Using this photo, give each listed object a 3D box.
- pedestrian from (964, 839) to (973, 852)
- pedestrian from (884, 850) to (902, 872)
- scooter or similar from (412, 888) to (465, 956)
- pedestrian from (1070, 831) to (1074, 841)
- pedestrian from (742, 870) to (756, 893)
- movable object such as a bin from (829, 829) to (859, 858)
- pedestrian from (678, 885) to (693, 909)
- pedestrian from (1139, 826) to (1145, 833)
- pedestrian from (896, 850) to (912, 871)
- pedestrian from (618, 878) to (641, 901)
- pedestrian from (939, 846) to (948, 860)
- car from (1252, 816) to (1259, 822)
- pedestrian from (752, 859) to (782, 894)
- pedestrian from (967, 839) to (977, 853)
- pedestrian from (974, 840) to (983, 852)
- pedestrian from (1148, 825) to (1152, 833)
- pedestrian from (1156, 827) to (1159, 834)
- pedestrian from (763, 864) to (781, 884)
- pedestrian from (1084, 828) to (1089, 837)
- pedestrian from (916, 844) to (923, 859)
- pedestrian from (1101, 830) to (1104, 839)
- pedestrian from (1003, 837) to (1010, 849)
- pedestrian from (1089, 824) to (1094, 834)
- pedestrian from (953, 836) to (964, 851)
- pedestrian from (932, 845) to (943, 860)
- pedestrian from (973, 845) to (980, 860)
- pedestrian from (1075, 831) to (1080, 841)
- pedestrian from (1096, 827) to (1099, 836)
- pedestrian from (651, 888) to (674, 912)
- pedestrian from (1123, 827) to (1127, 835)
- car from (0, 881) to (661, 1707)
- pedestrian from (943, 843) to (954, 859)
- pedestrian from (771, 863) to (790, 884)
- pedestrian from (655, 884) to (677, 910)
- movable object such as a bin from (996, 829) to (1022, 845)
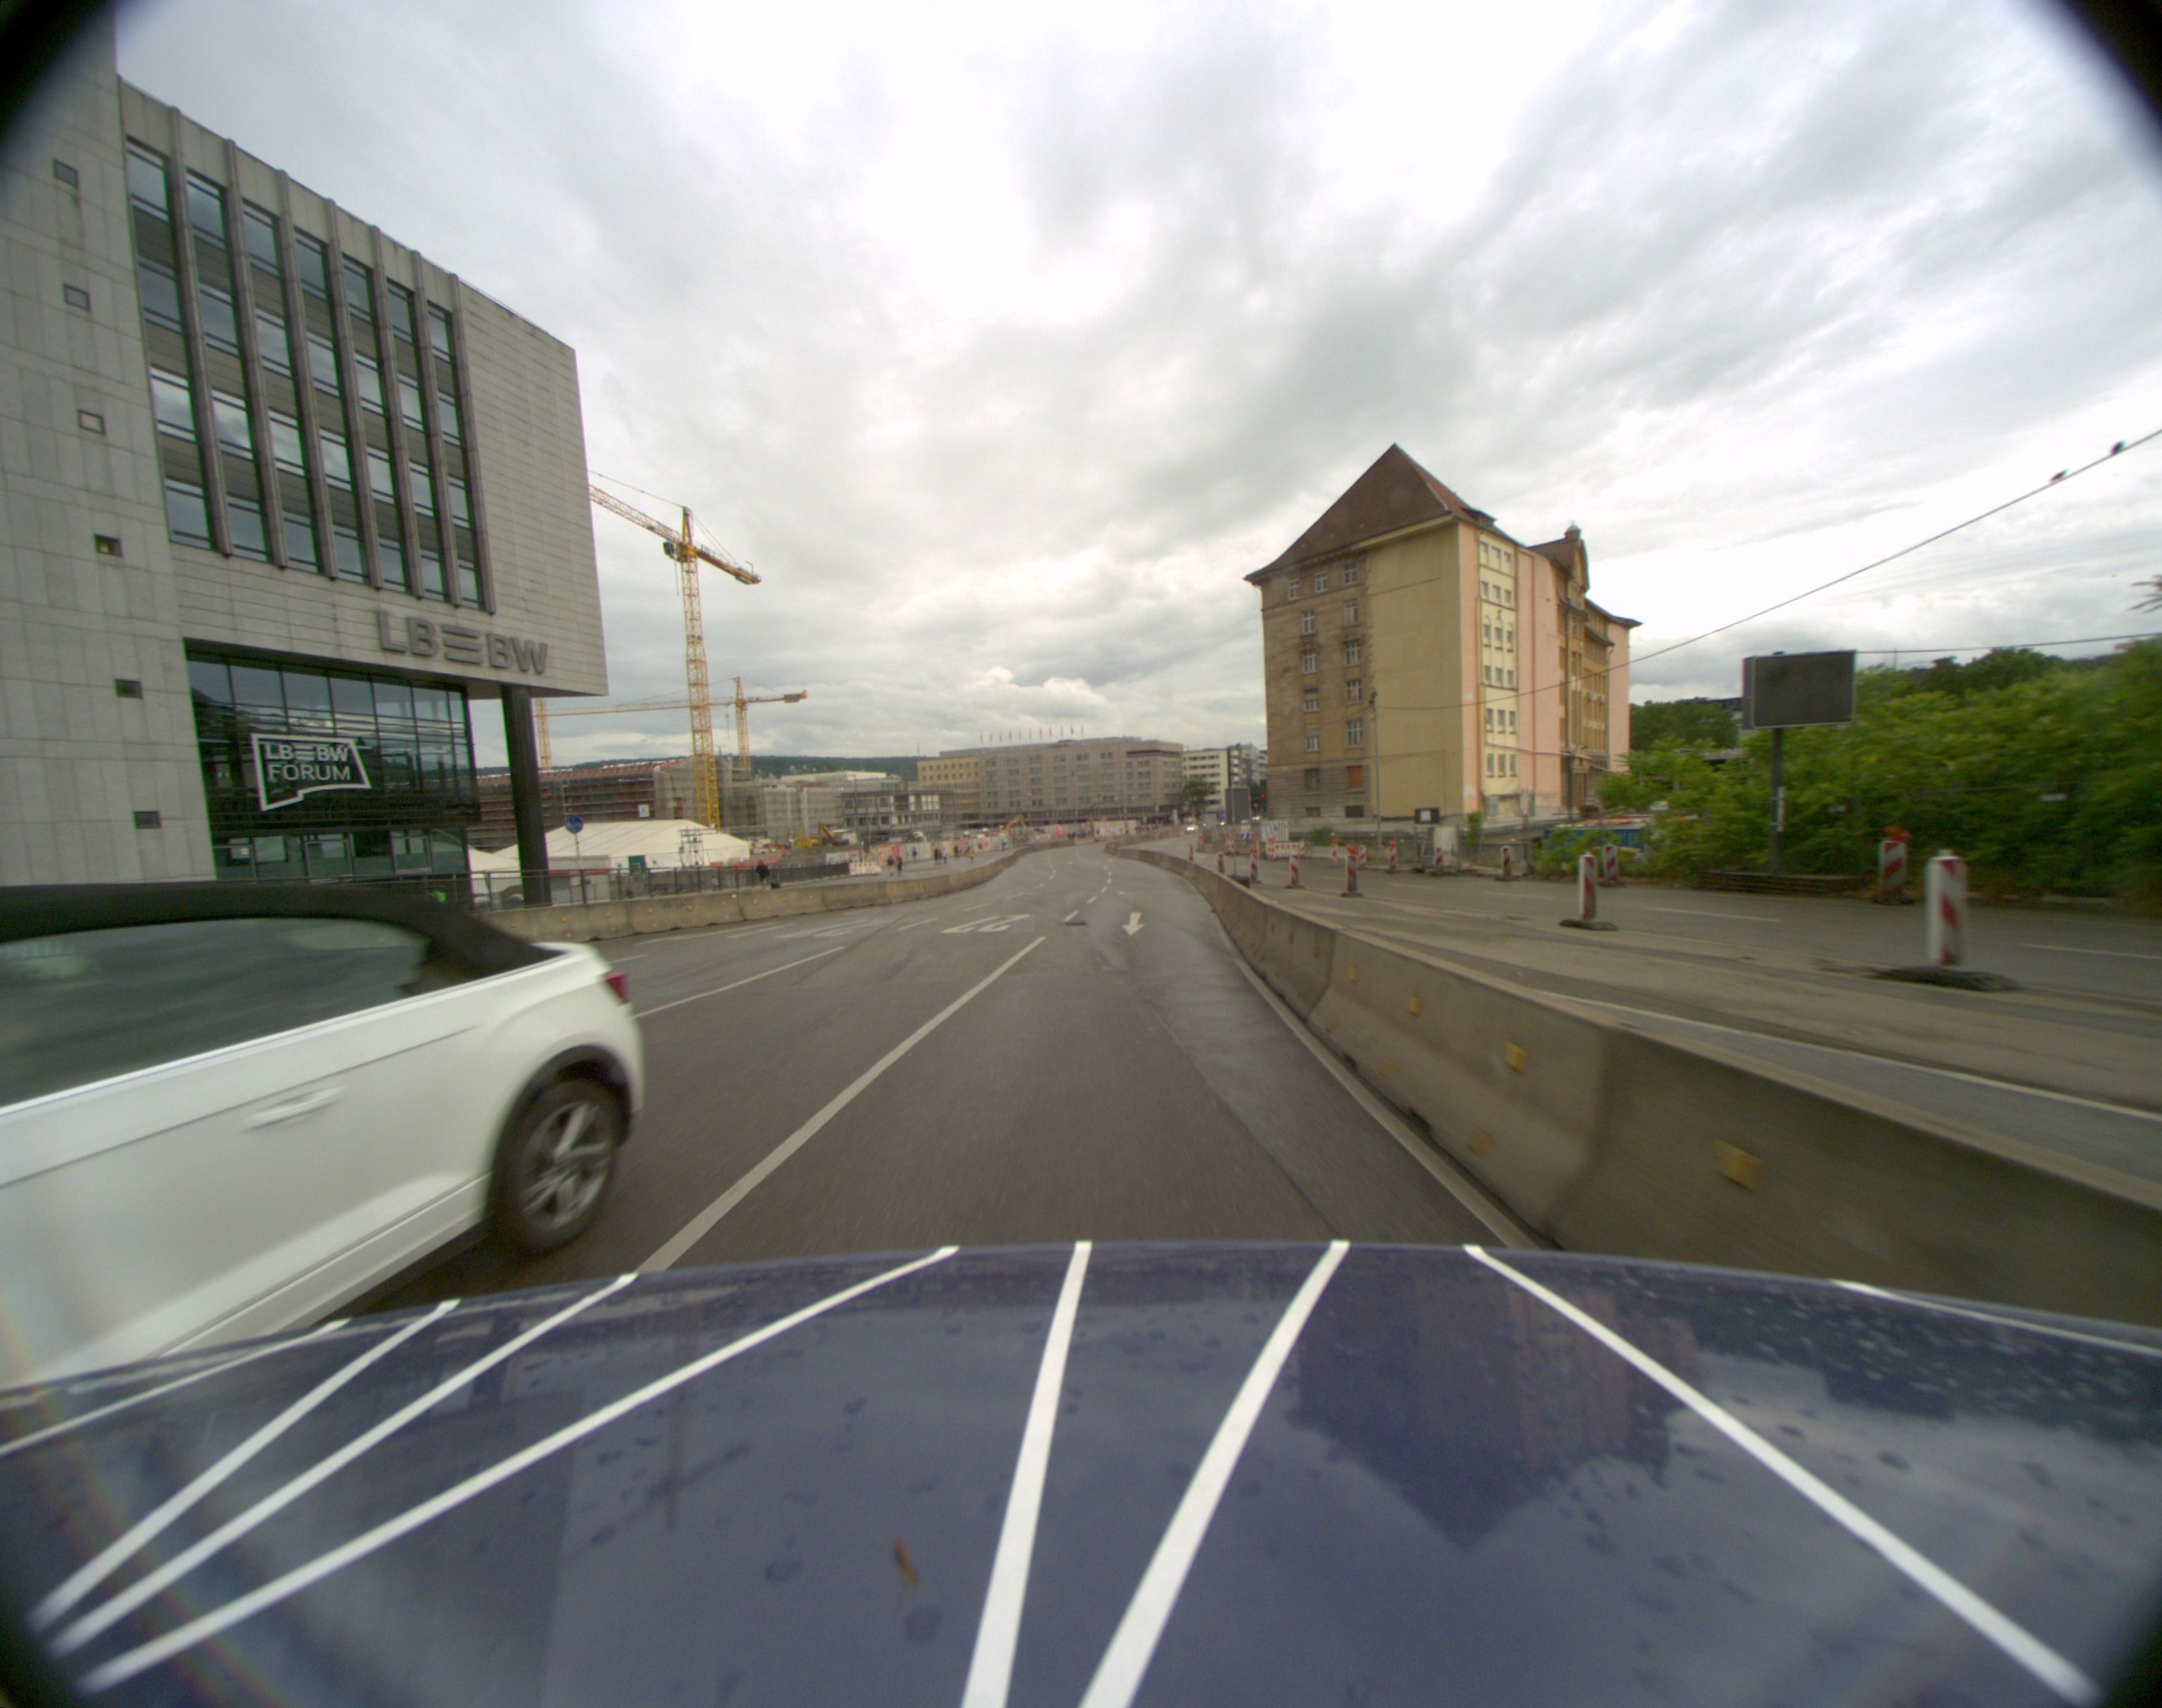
[{"bbox_3d":[-14.790,-1.061,99.750,0.647,1.646,0.767,0,4,34],"label":"pedestrian"},{"bbox_3d":[-14.443,0.550,58.469,0.861,1.585,0.953,-1,4,25],"label":"pedestrian"},{"bbox_3d":[-11.734,1.235,13.883,0.349,1.156,0.573,-2,2,12],"label":"scooter or similar"},{"bbox_3d":[-1.596,-3.210,136.997,0.648,1.734,0.766,0,4,11],"label":"pedestrian"},{"bbox_3d":[-25.055,2.062,57.352,0.753,1.628,0.586,-6,5,-44],"label":"pedestrian"},{"bbox_3d":[-29.867,-1.315,95.908,1.941,3.391,4.229,-2,3,5],"label":"movable object such as a bin"},{"bbox_3d":[-28.293,3.078,54.368,0.704,1.607,0.567,-1,4,30],"label":"pedestrian"},{"bbox_3d":[14.012,-5.641,174.412,1.097,1.752,0.907,1,4,24],"label":"pedestrian"},{"bbox_3d":[-13.611,0.520,58.317,0.732,1.566,0.806,-2,3,25],"label":"pedestrian"},{"bbox_3d":[-32.647,2.530,54.890,0.867,1.545,1.009,-1,4,26],"label":"pedestrian"},{"bbox_3d":[-15.465,-0.163,85.378,0.610,1.514,0.886,-2,4,17],"label":"pedestrian"},{"bbox_3d":[56.115,-11.191,244.316,1.996,1.839,4.003,-1,3,19],"label":"car"},{"bbox_3d":[-15.356,1.107,37.200,0.730,1.643,1.062,-1,3,25],"label":"pedestrian"},{"bbox_3d":[-14.006,-1.030,97.878,0.818,1.839,0.933,0,4,34],"label":"pedestrian"},{"bbox_3d":[-13.477,-1.097,99.875,0.647,1.545,0.767,0,4,34],"label":"pedestrian"},{"bbox_3d":[15.900,-5.840,175.582,0.756,1.752,0.766,0,4,9],"label":"pedestrian"},{"bbox_3d":[18.368,-5.724,182.988,0.653,1.752,0.548,0,4,9],"label":"pedestrian"},{"bbox_3d":[-26.248,1.692,64.492,0.867,1.680,1.009,-1,4,26],"label":"pedestrian"},{"bbox_3d":[1.019,-3.893,138.832,0.654,1.682,0.776,0,4,21],"label":"pedestrian"},{"bbox_3d":[-18.969,-0.297,89.129,0.567,1.739,0.495,-2,4,16],"label":"pedestrian"},{"bbox_3d":[4.224,-3.836,148.703,0.648,1.752,0.583,0,4,9],"label":"pedestrian"},{"bbox_3d":[-10.818,-1.650,109.974,0.746,1.697,0.687,0,4,11],"label":"pedestrian"},{"bbox_3d":[1.973,-4.690,142.541,0.654,1.682,0.776,0,4,21],"label":"pedestrian"},{"bbox_3d":[-14.946,-1.258,92.973,0.867,1.808,1.009,-2,4,17],"label":"pedestrian"},{"bbox_3d":[-16.136,-0.161,85.585,0.715,1.545,1.009,-2,3,17],"label":"pedestrian"},{"bbox_3d":[-11.892,-0.177,86.341,0.649,1.624,0.907,-3,3,-2],"label":"pedestrian"},{"bbox_3d":[-0.654,-3.268,136.899,0.648,1.637,0.947,0,4,11],"label":"pedestrian"},{"bbox_3d":[3.191,-4.378,146.588,0.585,1.699,0.677,0,4,9],"label":"pedestrian"},{"bbox_3d":[-30.199,3.335,54.865,0.867,1.628,1.009,-1,4,26],"label":"pedestrian"},{"bbox_3d":[9.284,-4.868,159.722,0.648,1.660,0.766,0,4,9],"label":"pedestrian"},{"bbox_3d":[-3.104,0.969,1.555,1.968,1.540,4.218,-2,1,2],"label":"car"},{"bbox_3d":[-14.910,-0.331,85.572,0.778,1.713,0.892,-2,4,17],"label":"pedestrian"},{"bbox_3d":[-25.290,1.656,63.947,0.867,1.716,1.009,-1,4,26],"label":"pedestrian"},{"bbox_3d":[-29.522,3.063,54.078,0.771,1.774,1.009,-1,4,26],"label":"pedestrian"},{"bbox_3d":[-12.593,-2.987,133.003,4.135,2.522,1.994,-5,4,-37],"label":"movable object such as a bin"}]
